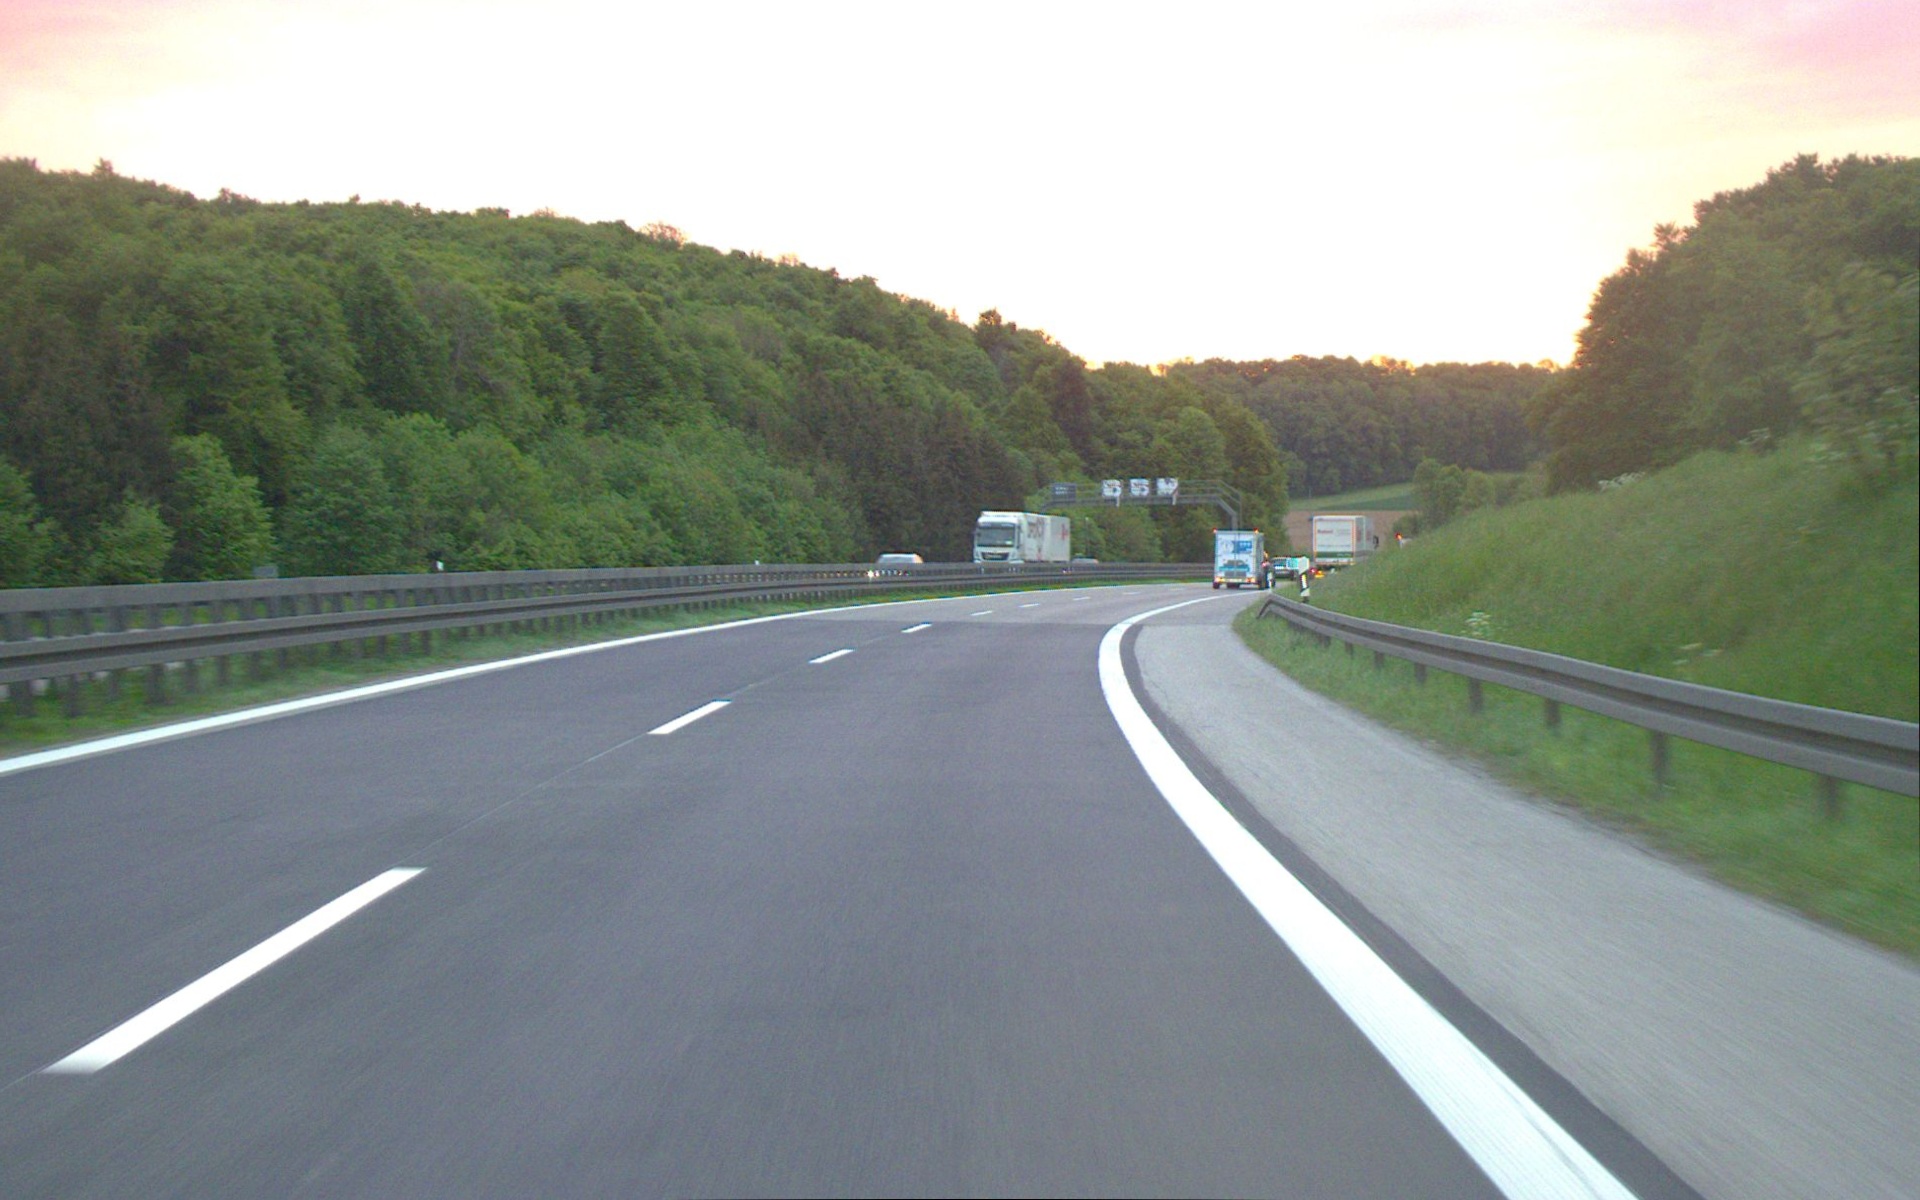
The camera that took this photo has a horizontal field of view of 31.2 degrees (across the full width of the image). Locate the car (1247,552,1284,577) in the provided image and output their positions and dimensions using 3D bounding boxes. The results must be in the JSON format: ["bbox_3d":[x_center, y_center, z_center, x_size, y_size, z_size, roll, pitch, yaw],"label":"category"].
[{"bbox_3d":[19.341,-2.230,217.386,1.994,1.512,3.999,-1,1,9],"label":"car"}]

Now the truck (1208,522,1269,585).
[{"bbox_3d":[12.689,-2.134,156.434,2.277,2.655,5.235,-1,3,9],"label":"truck"}]

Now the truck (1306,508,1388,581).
[{"bbox_3d":[24.084,-3.511,213.321,3.960,4.272,14.317,-1,1,11],"label":"truck"}]

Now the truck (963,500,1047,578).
[{"bbox_3d":[2.576,-3.398,193.424,2.866,4.266,10.061,0,1,12],"label":"truck"}]
